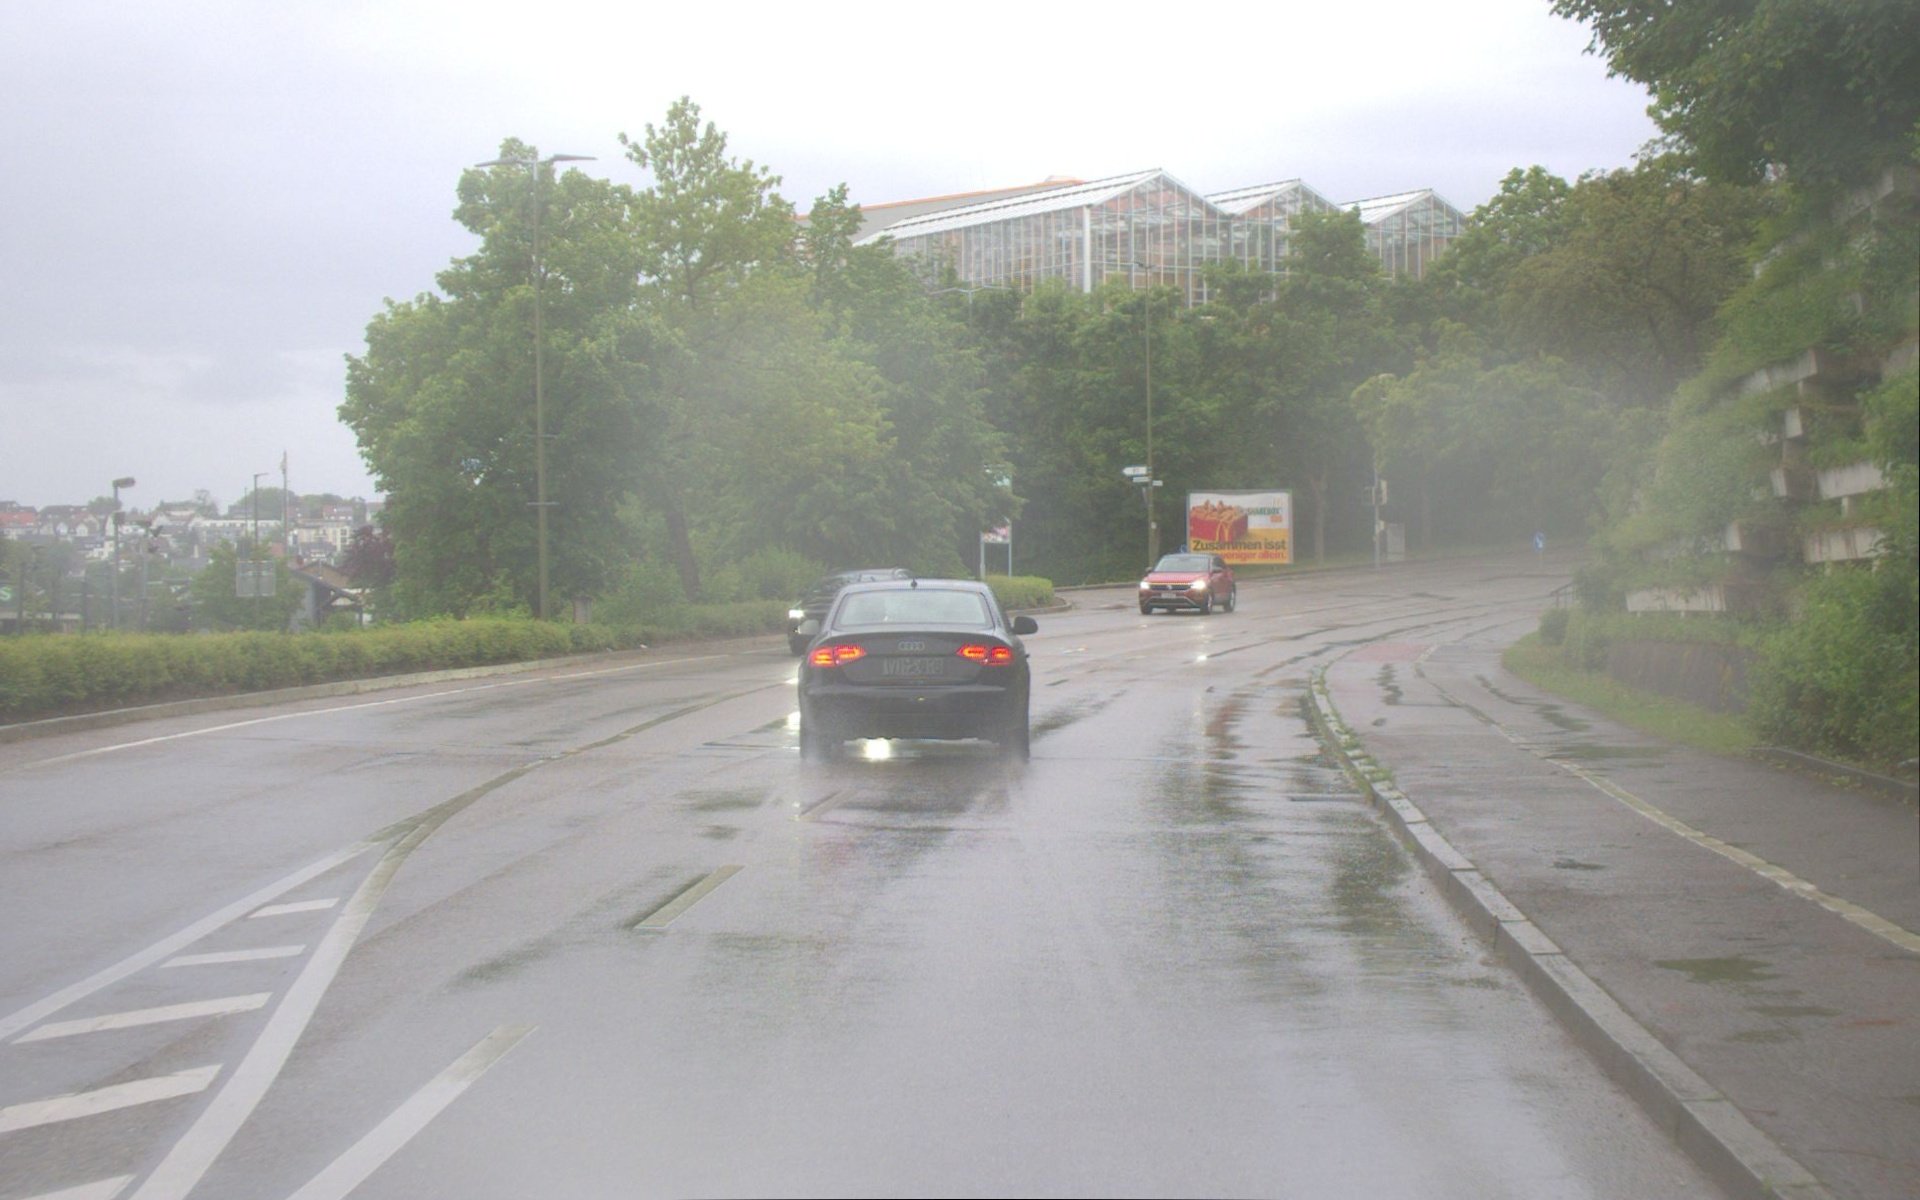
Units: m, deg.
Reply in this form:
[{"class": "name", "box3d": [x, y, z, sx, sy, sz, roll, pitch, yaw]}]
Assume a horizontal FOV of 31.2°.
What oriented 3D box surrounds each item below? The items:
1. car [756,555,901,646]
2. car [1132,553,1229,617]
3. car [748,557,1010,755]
[{"class": "car", "box3d": [-2.300, -0.023, 59.203, 1.723, 1.457, 4.545, 2, 0, -12]}, {"class": "car", "box3d": [5.666, -0.401, 88.022, 1.755, 1.530, 3.997, 0, 1, 15]}, {"class": "car", "box3d": [-0.564, 0.382, 27.135, 1.755, 1.391, 4.000, 0, 1, 3]}]
